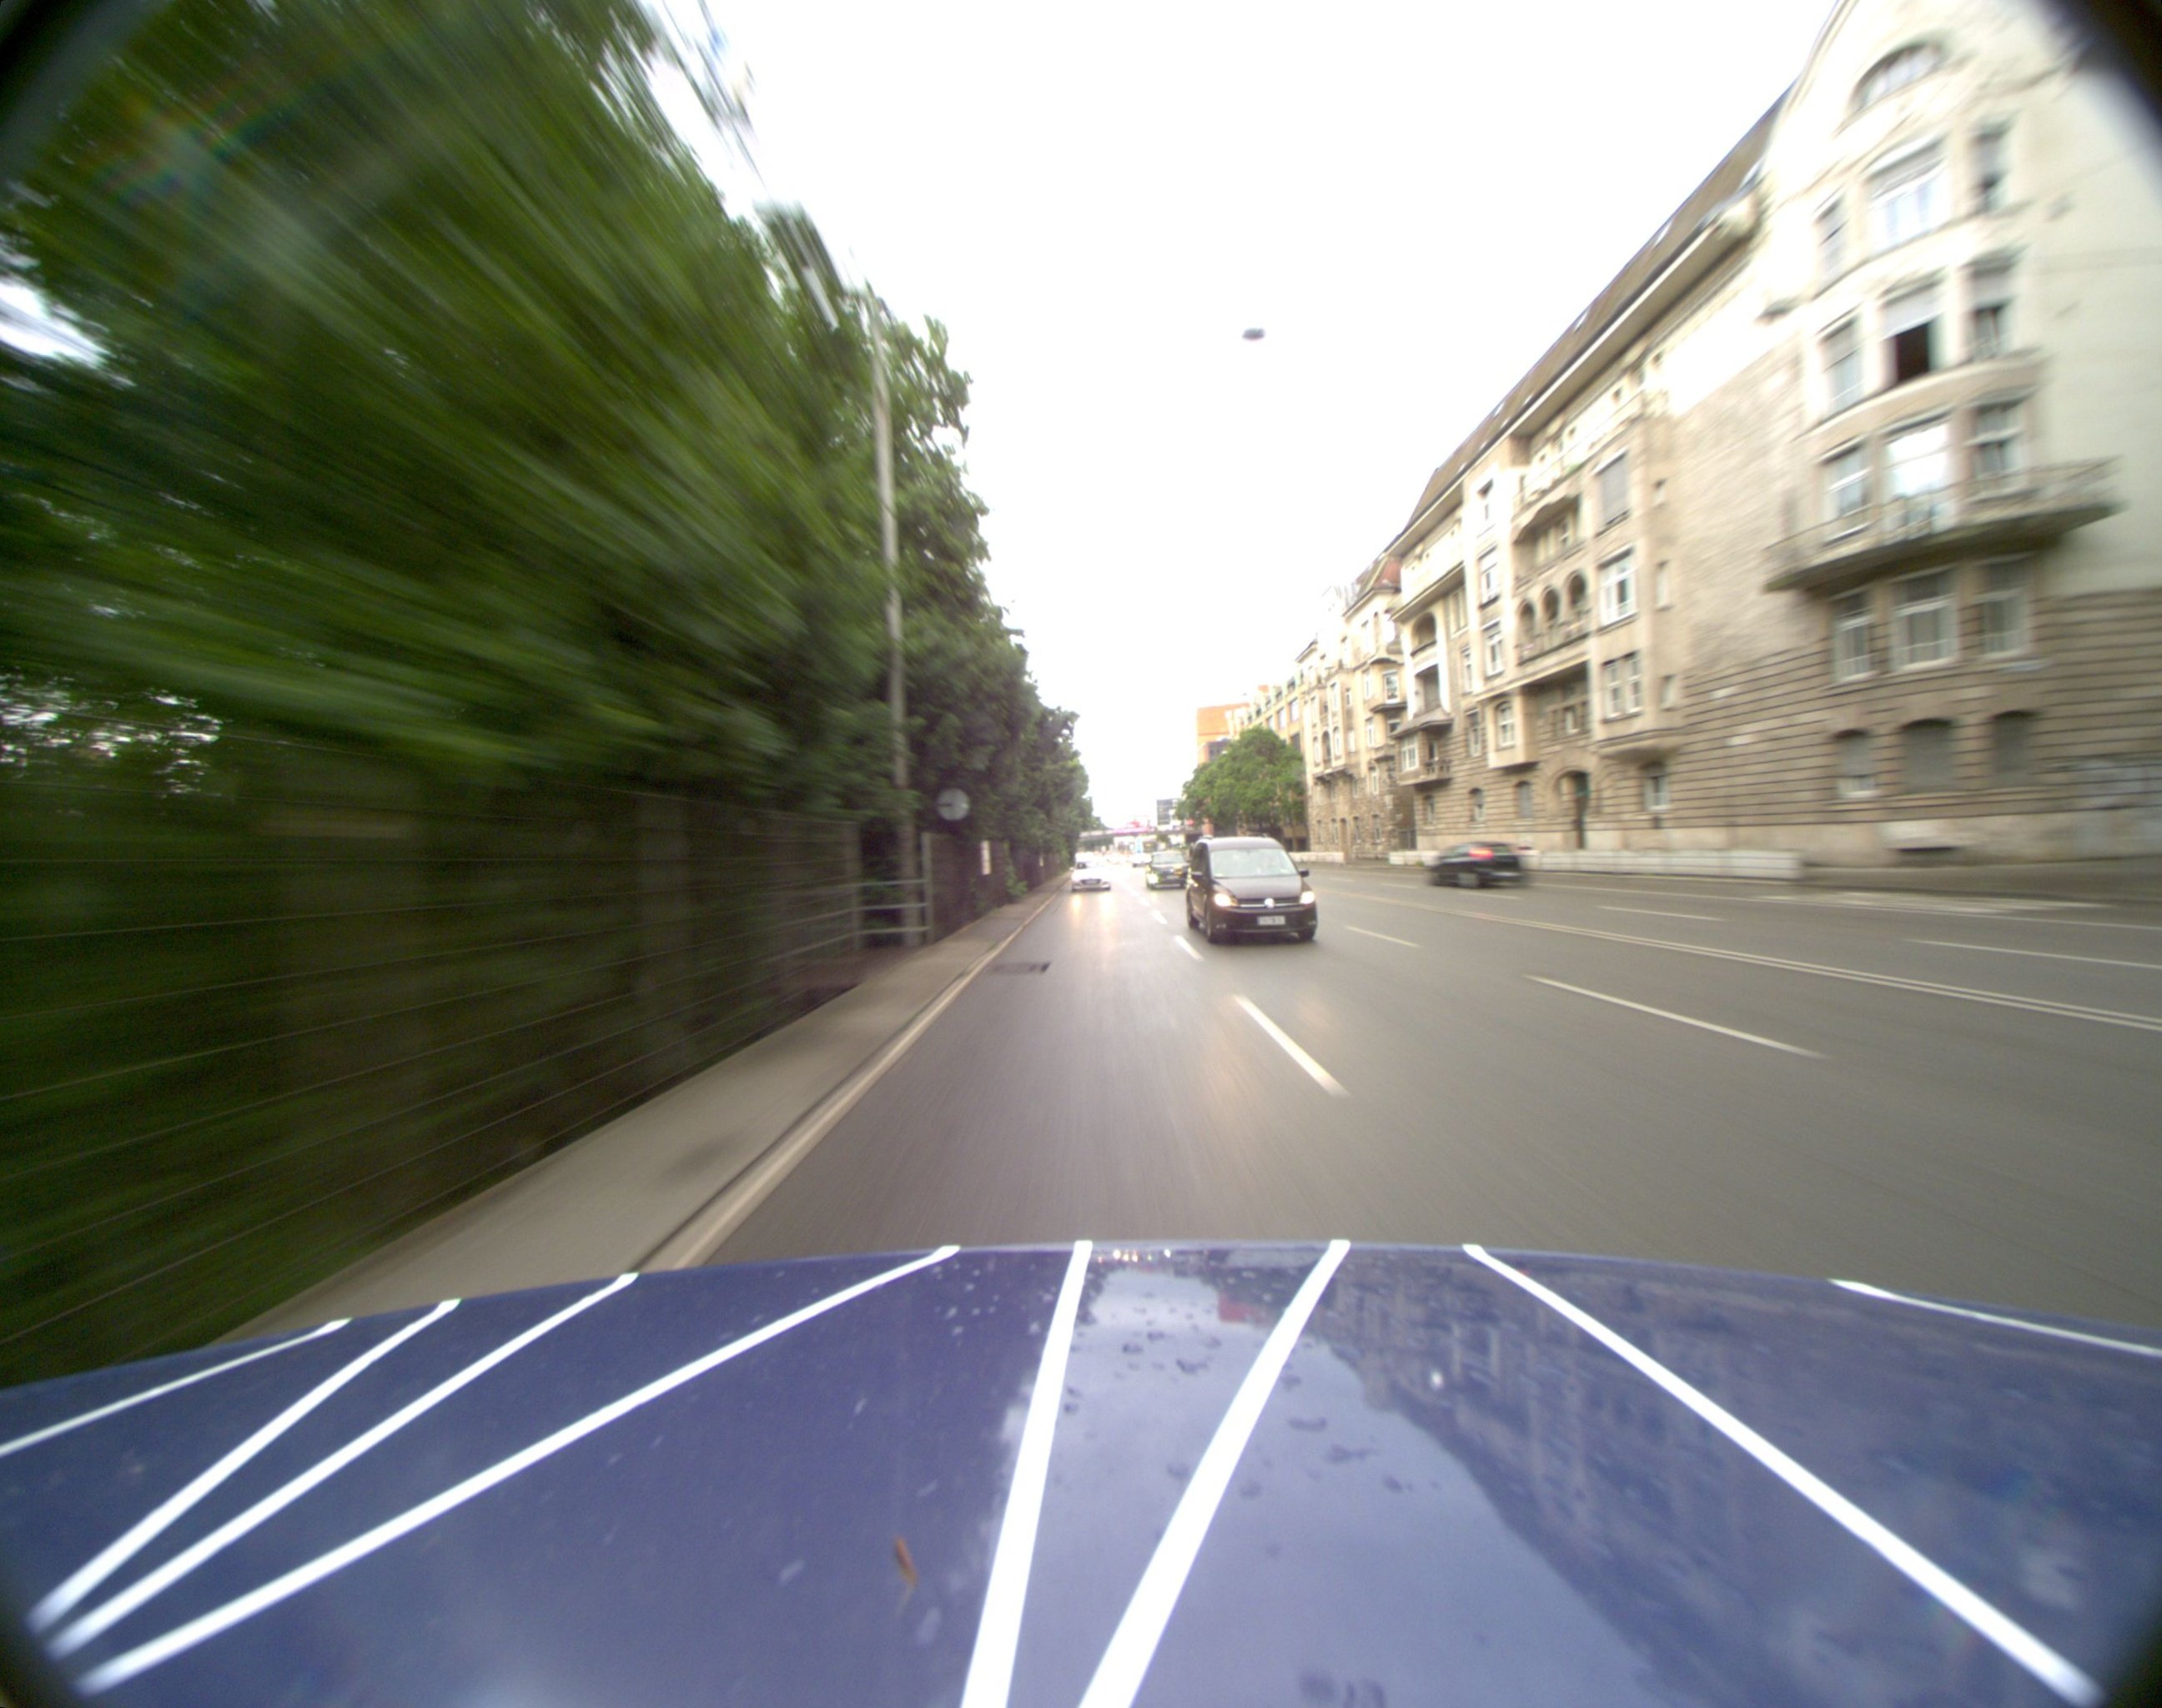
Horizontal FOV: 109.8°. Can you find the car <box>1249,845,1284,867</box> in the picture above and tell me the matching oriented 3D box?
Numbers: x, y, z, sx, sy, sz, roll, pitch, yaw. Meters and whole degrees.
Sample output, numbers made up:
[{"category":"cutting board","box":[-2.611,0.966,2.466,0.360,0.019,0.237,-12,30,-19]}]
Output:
[{"category":"car","box":[13.278,0.142,54.659,1.584,1.406,3.962,-3,0,1]}]

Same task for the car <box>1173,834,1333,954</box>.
[{"category":"car","box":[2.913,0.629,13.754,1.842,1.780,3.999,-3,0,-1]}]

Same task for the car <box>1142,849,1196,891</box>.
[{"category":"car","box":[3.777,0.647,33.258,1.731,1.604,3.999,-5,0,-1]}]

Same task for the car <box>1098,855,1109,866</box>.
[{"category":"car","box":[4.209,1.192,145.585,1.878,1.762,3.999,-5,1,1]}]

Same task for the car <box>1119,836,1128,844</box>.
[{"category":"car","box":[9.527,-3.119,168.737,1.824,1.602,4.000,-5,1,4]}]

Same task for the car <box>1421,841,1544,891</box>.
[{"category":"car","box":[12.362,0.332,23.708,1.705,1.331,3.915,-3,0,0]}]

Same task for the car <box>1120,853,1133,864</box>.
[{"category":"car","box":[7.947,0.808,133.690,1.878,1.762,3.999,-5,1,1]}]

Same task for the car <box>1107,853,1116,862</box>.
[{"category":"car","box":[7.037,0.781,177.704,1.878,1.762,3.999,-5,1,1]}]

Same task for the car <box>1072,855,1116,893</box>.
[{"category":"car","box":[0.535,0.847,34.333,1.731,1.431,3.999,-5,0,-1]}]

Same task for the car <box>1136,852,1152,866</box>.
[{"category":"car","box":[7.344,0.556,88.335,1.730,1.502,3.732,-4,0,4]}]
